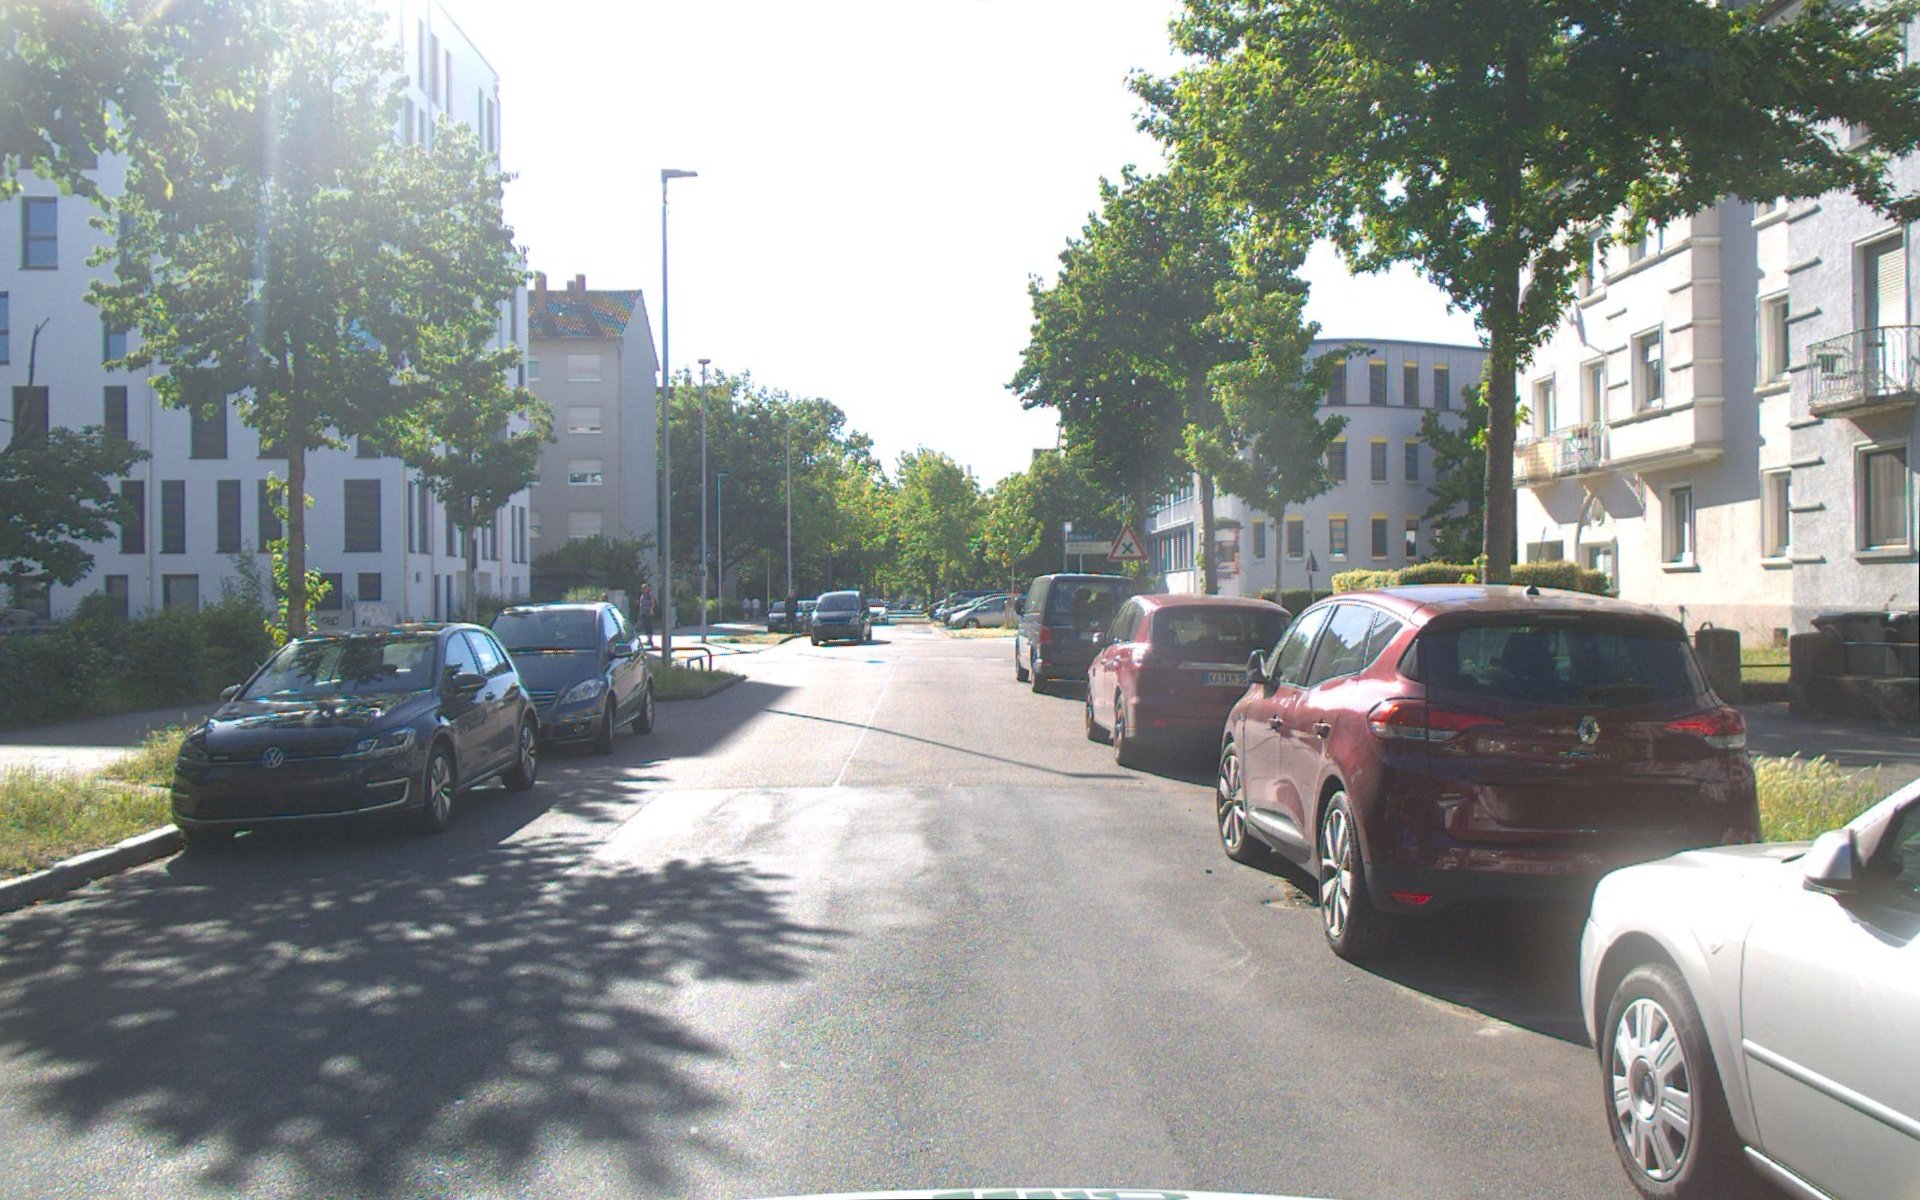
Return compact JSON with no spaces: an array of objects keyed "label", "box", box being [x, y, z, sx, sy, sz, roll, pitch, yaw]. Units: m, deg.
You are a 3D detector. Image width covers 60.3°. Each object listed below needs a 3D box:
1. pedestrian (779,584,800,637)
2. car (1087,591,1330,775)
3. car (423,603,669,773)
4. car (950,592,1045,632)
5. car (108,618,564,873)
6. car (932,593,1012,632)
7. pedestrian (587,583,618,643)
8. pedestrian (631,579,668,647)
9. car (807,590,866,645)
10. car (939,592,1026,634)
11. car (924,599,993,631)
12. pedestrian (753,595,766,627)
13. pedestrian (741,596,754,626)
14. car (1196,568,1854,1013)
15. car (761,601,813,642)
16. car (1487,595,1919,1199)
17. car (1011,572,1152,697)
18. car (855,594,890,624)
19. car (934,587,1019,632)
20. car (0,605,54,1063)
[{"label":"pedestrian","box":[-6.411,0.393,62.167,0.702,1.933,0.834,-1,0,-11]},{"label":"car","box":[2.414,0.749,17.045,1.797,1.628,4.157,1,0,-1]},{"label":"car","box":[-4.549,0.890,18.817,1.803,1.623,4.260,-3,0,-2]},{"label":"car","box":[1.591,0.507,71.599,3.910,1.615,1.725,-1,0,-6]},{"label":"car","box":[-4.508,0.952,12.746,1.954,1.478,4.260,-3,0,-2]},{"label":"car","box":[0.609,0.633,84.116,3.908,1.862,1.998,-1,0,-4]},{"label":"pedestrian","box":[-12.372,0.446,57.248,0.842,2.049,0.980,-1,0,-4]},{"label":"pedestrian","box":[-9.482,0.399,50.529,0.841,2.049,0.982,-1,0,7]},{"label":"car","box":[-3.926,0.538,52.643,1.748,1.637,3.996,-1,0,-4]},{"label":"car","box":[1.024,0.610,76.802,3.908,1.837,1.888,-1,0,-4]},{"label":"car","box":[-0.097,0.903,100.198,3.913,1.915,1.996,0,0,-9]},{"label":"pedestrian","box":[-13.186,0.716,108.708,0.843,2.049,0.979,-1,0,-8]},{"label":"pedestrian","box":[-13.526,0.699,105.226,0.747,1.934,0.817,-1,0,-8]},{"label":"car","box":[2.575,0.761,8.768,1.868,1.728,4.312,2,0,-2]},{"label":"car","box":[-7.586,0.916,72.864,1.953,1.700,3.999,-1,0,-1]},{"label":"car","box":[2.691,0.773,2.828,1.859,1.500,4.697,2,-1,-3]},{"label":"car","box":[2.047,0.561,29.264,1.931,1.983,4.983,-1,0,-2]},{"label":"car","box":[-4.879,0.500,93.093,1.857,1.588,3.998,-1,0,-2]},{"label":"car","box":[0.785,0.446,79.624,3.908,2.049,1.998,-1,0,-4]},{"label":"car","box":[-4.145,0.846,4.044,1.675,1.571,3.929,-3,0,-1]}]
